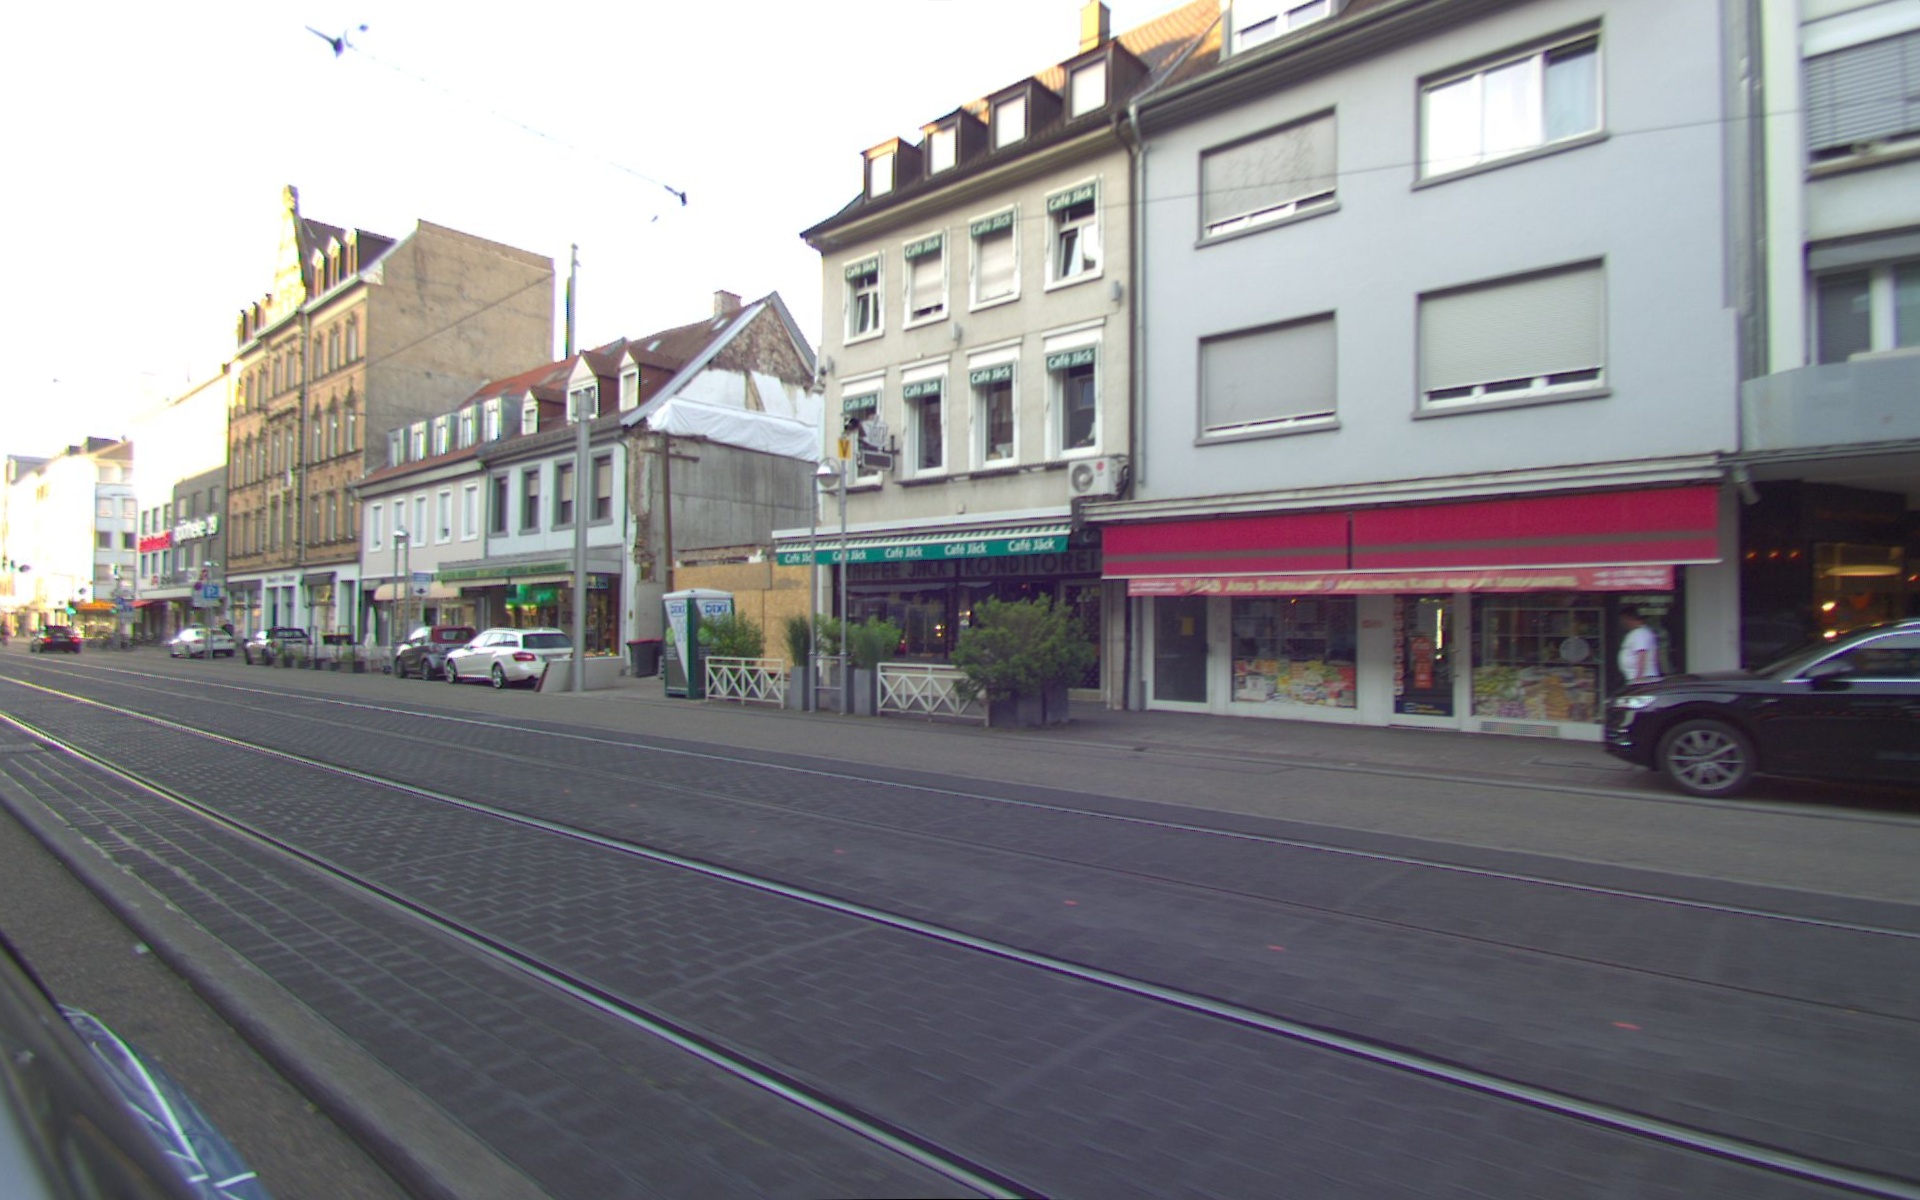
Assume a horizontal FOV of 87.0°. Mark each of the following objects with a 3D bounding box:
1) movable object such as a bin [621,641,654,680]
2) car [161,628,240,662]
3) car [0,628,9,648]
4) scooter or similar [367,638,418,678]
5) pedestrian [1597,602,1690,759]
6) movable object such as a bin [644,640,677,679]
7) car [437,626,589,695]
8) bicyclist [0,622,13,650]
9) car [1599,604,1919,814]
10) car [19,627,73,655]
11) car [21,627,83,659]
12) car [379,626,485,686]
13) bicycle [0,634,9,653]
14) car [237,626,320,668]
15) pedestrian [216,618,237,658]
[{"bbox_3d":[-9.090,1.698,28.526,0.657,1.053,0.674,-2,-3,45],"label":"movable object such as a bin"},{"bbox_3d":[-36.156,2.099,48.140,4.399,1.431,1.974,-1,0,39],"label":"car"},{"bbox_3d":[-76.248,2.986,79.363,3.997,1.453,1.973,-1,0,40],"label":"car"},{"bbox_3d":[-17.769,1.812,31.697,0.311,1.177,1.347,-1,0,43],"label":"scooter or similar"},{"bbox_3d":[8.255,0.927,12.217,0.818,1.795,0.809,-1,0,41],"label":"pedestrian"},{"bbox_3d":[-8.596,1.697,29.030,0.657,1.053,0.674,-1,0,45],"label":"movable object such as a bin"},{"bbox_3d":[-11.750,1.511,26.470,4.620,1.568,1.871,-1,0,41],"label":"car"},{"bbox_3d":[-62.957,2.383,66.546,0.900,1.819,0.871,-1,0,42],"label":"bicyclist"},{"bbox_3d":[8.586,0.905,9.082,4.586,1.710,1.973,-1,0,41],"label":"car"},{"bbox_3d":[-55.723,2.467,61.684,3.997,1.564,1.973,-1,0,40],"label":"car"},{"bbox_3d":[-49.466,2.303,55.123,3.997,1.574,1.973,-1,0,40],"label":"car"},{"bbox_3d":[-15.530,1.604,29.708,3.469,1.582,1.638,-1,0,41],"label":"car"},{"bbox_3d":[-63.035,2.840,66.566,2.264,1.199,0.487,-1,0,41],"label":"bicycle"},{"bbox_3d":[-27.069,1.819,40.148,3.814,1.504,1.822,-1,0,41],"label":"car"},{"bbox_3d":[-38.518,1.973,53.148,0.738,2.029,1.049,-1,0,-45],"label":"pedestrian"}]
